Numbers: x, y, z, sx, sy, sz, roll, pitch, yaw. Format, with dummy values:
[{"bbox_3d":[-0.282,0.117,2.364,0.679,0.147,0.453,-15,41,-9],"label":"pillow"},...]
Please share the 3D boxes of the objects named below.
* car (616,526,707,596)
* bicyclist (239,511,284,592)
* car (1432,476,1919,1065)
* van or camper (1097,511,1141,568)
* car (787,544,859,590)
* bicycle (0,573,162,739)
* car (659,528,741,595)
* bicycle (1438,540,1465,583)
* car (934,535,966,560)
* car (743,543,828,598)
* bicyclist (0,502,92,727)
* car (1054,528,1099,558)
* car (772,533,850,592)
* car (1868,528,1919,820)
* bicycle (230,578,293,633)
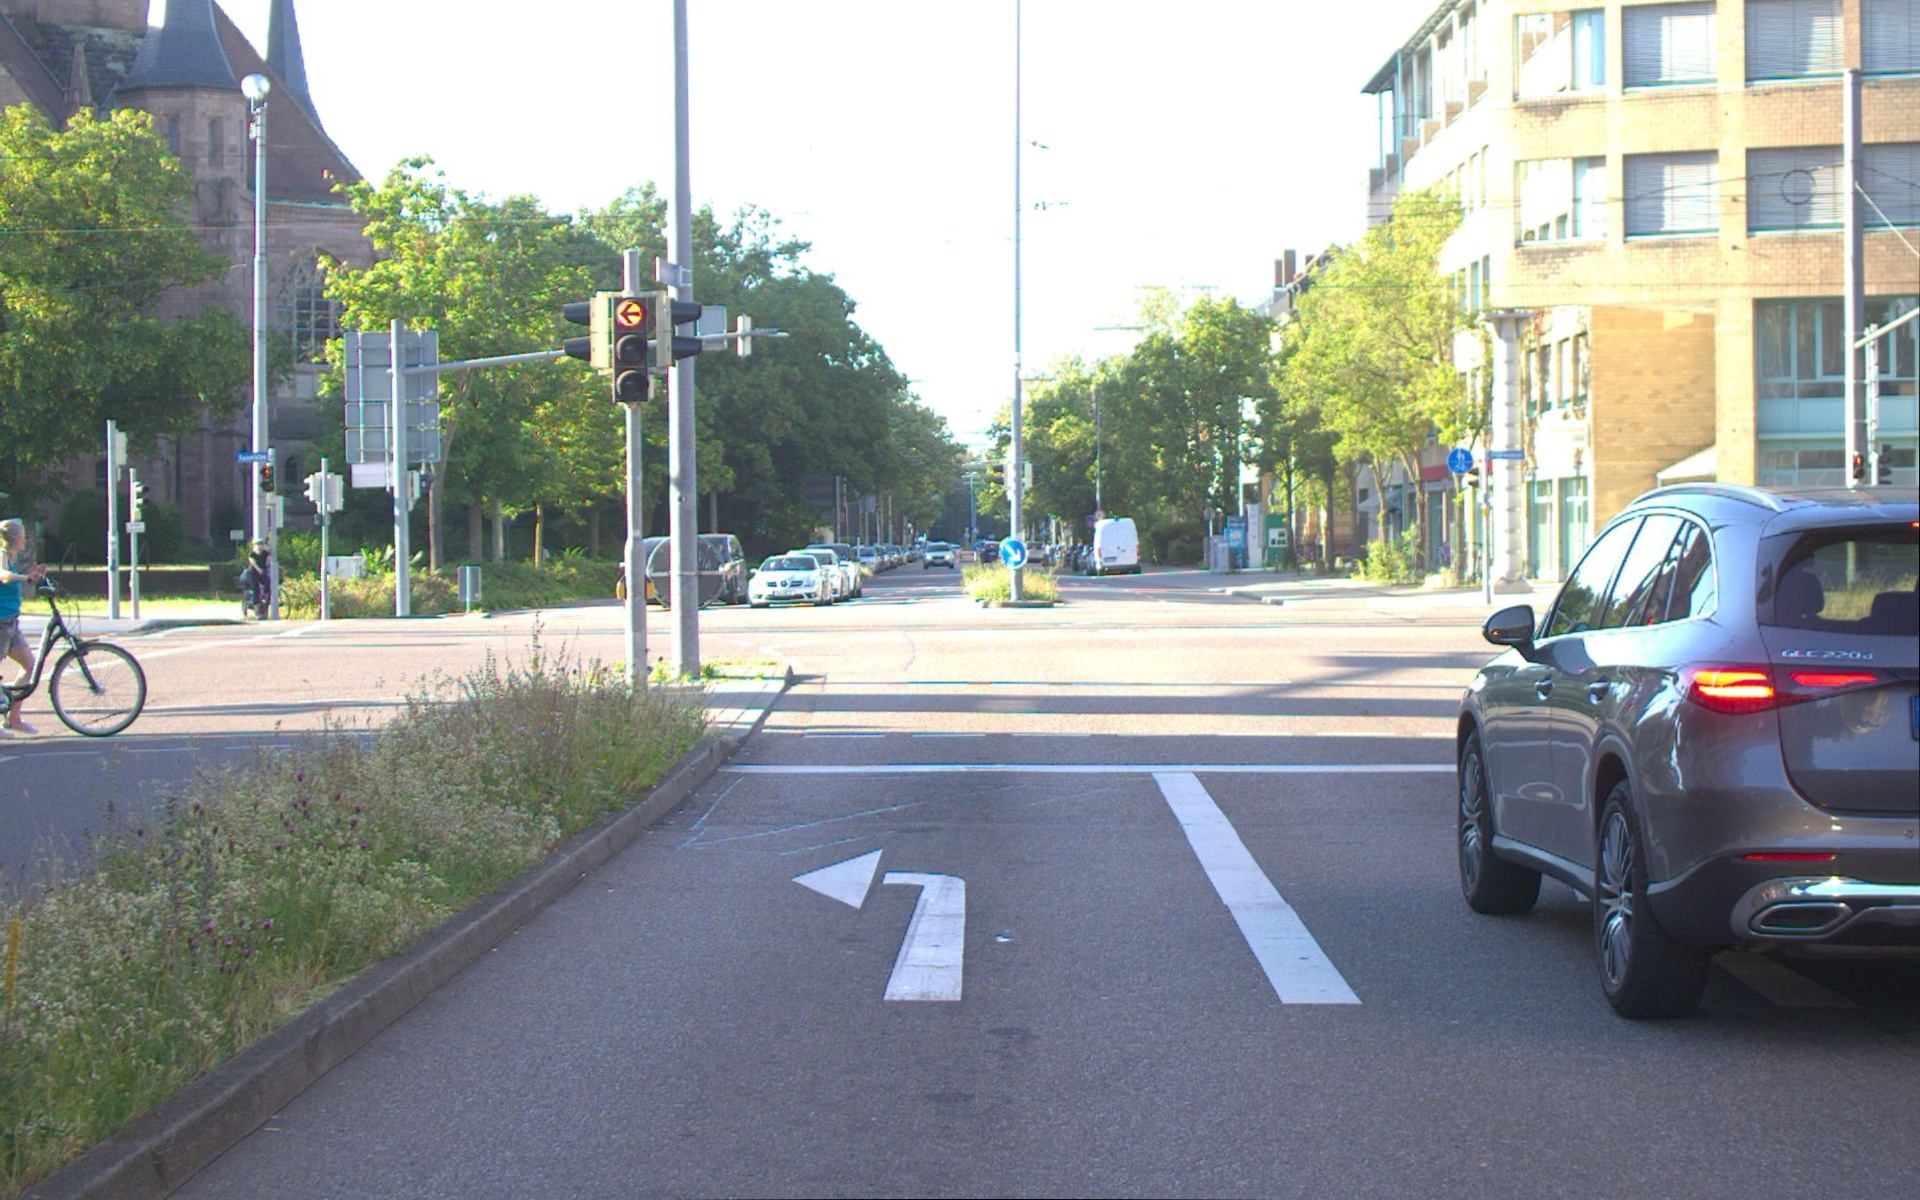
[{"bbox_3d":[-7.205,-0.962,83.344,1.780,1.641,4.000,0,1,1],"label":"car"},{"bbox_3d":[-14.729,-1.034,72.471,0.639,1.688,0.782,-2,2,-36],"label":"bicyclist"},{"bbox_3d":[2.833,0.412,11.761,1.784,1.627,4.479,0,1,0],"label":"car"},{"bbox_3d":[7.465,-2.888,162.107,1.993,2.631,5.350,0,1,2],"label":"van or camper"},{"bbox_3d":[-3.830,-0.941,96.584,1.780,1.232,4.000,0,1,1],"label":"car"},{"bbox_3d":[-6.880,0.408,25.300,1.827,1.184,0.734,-1,1,0],"label":"bicycle"},{"bbox_3d":[-6.832,-1.044,90.738,1.780,1.698,4.000,0,1,1],"label":"car"},{"bbox_3d":[14.320,-1.128,100.100,0.774,1.191,2.464,0,1,8],"label":"bicycle"},{"bbox_3d":[-0.572,-3.130,203.582,1.780,1.444,4.000,0,1,1],"label":"car"},{"bbox_3d":[-4.177,-0.725,82.752,1.780,1.232,4.000,0,1,1],"label":"car"},{"bbox_3d":[-7.040,0.097,25.856,0.782,1.654,0.901,-1,1,-1],"label":"bicyclist"},{"bbox_3d":[6.318,-3.120,187.503,1.993,1.587,4.001,-1,1,-5],"label":"car"},{"bbox_3d":[-3.845,-0.998,89.317,1.780,1.459,4.000,0,1,1],"label":"car"},{"bbox_3d":[5.550,0.399,16.160,1.584,1.442,3.648,1,1,0],"label":"car"},{"bbox_3d":[-14.736,0.109,72.520,0.645,1.135,1.680,-2,2,-36],"label":"bicycle"}]
